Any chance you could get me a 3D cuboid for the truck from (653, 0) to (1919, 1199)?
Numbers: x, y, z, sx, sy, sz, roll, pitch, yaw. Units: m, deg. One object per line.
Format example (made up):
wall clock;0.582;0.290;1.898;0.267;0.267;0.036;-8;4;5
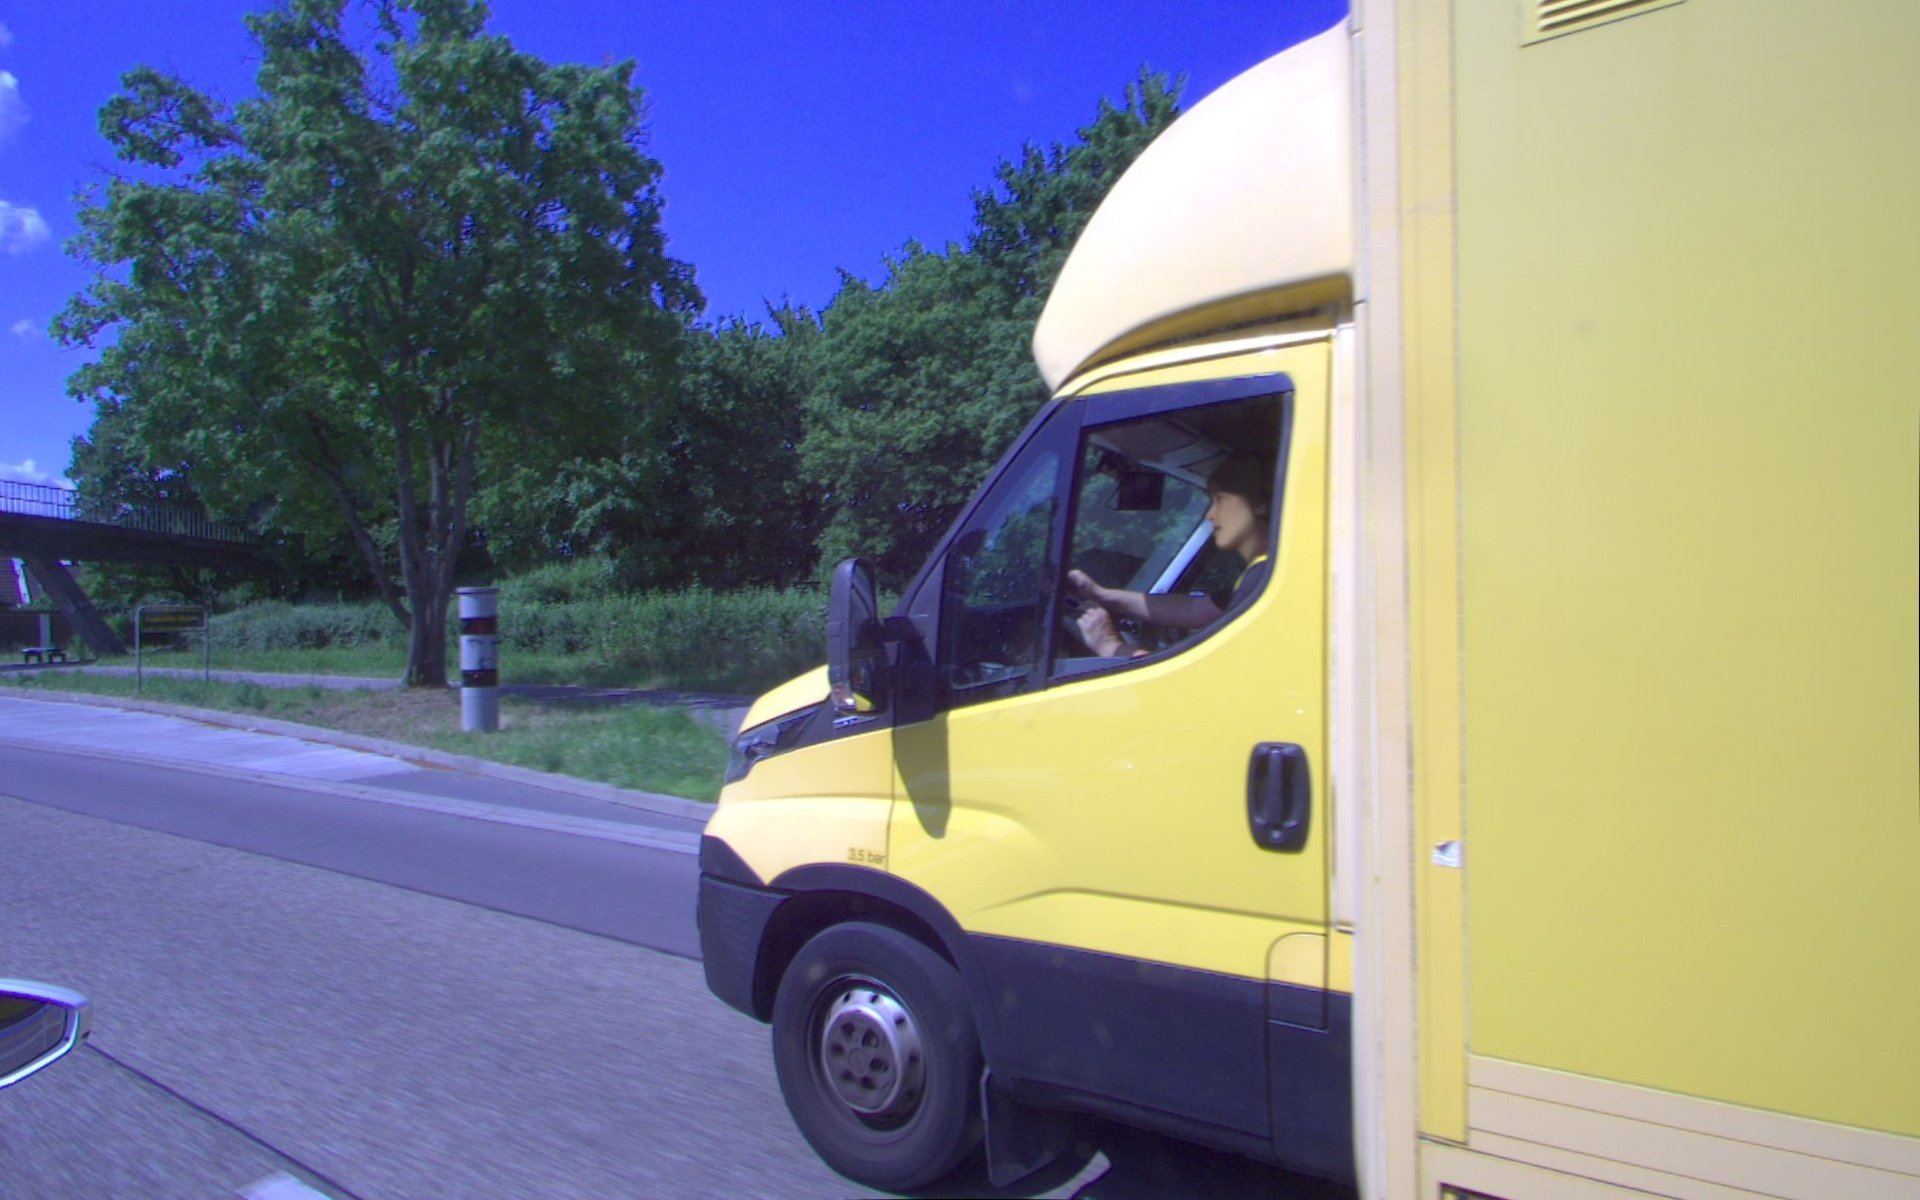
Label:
truck;3.045;0.074;1.803;7.912;2.917;2.261;-1;-1;32
